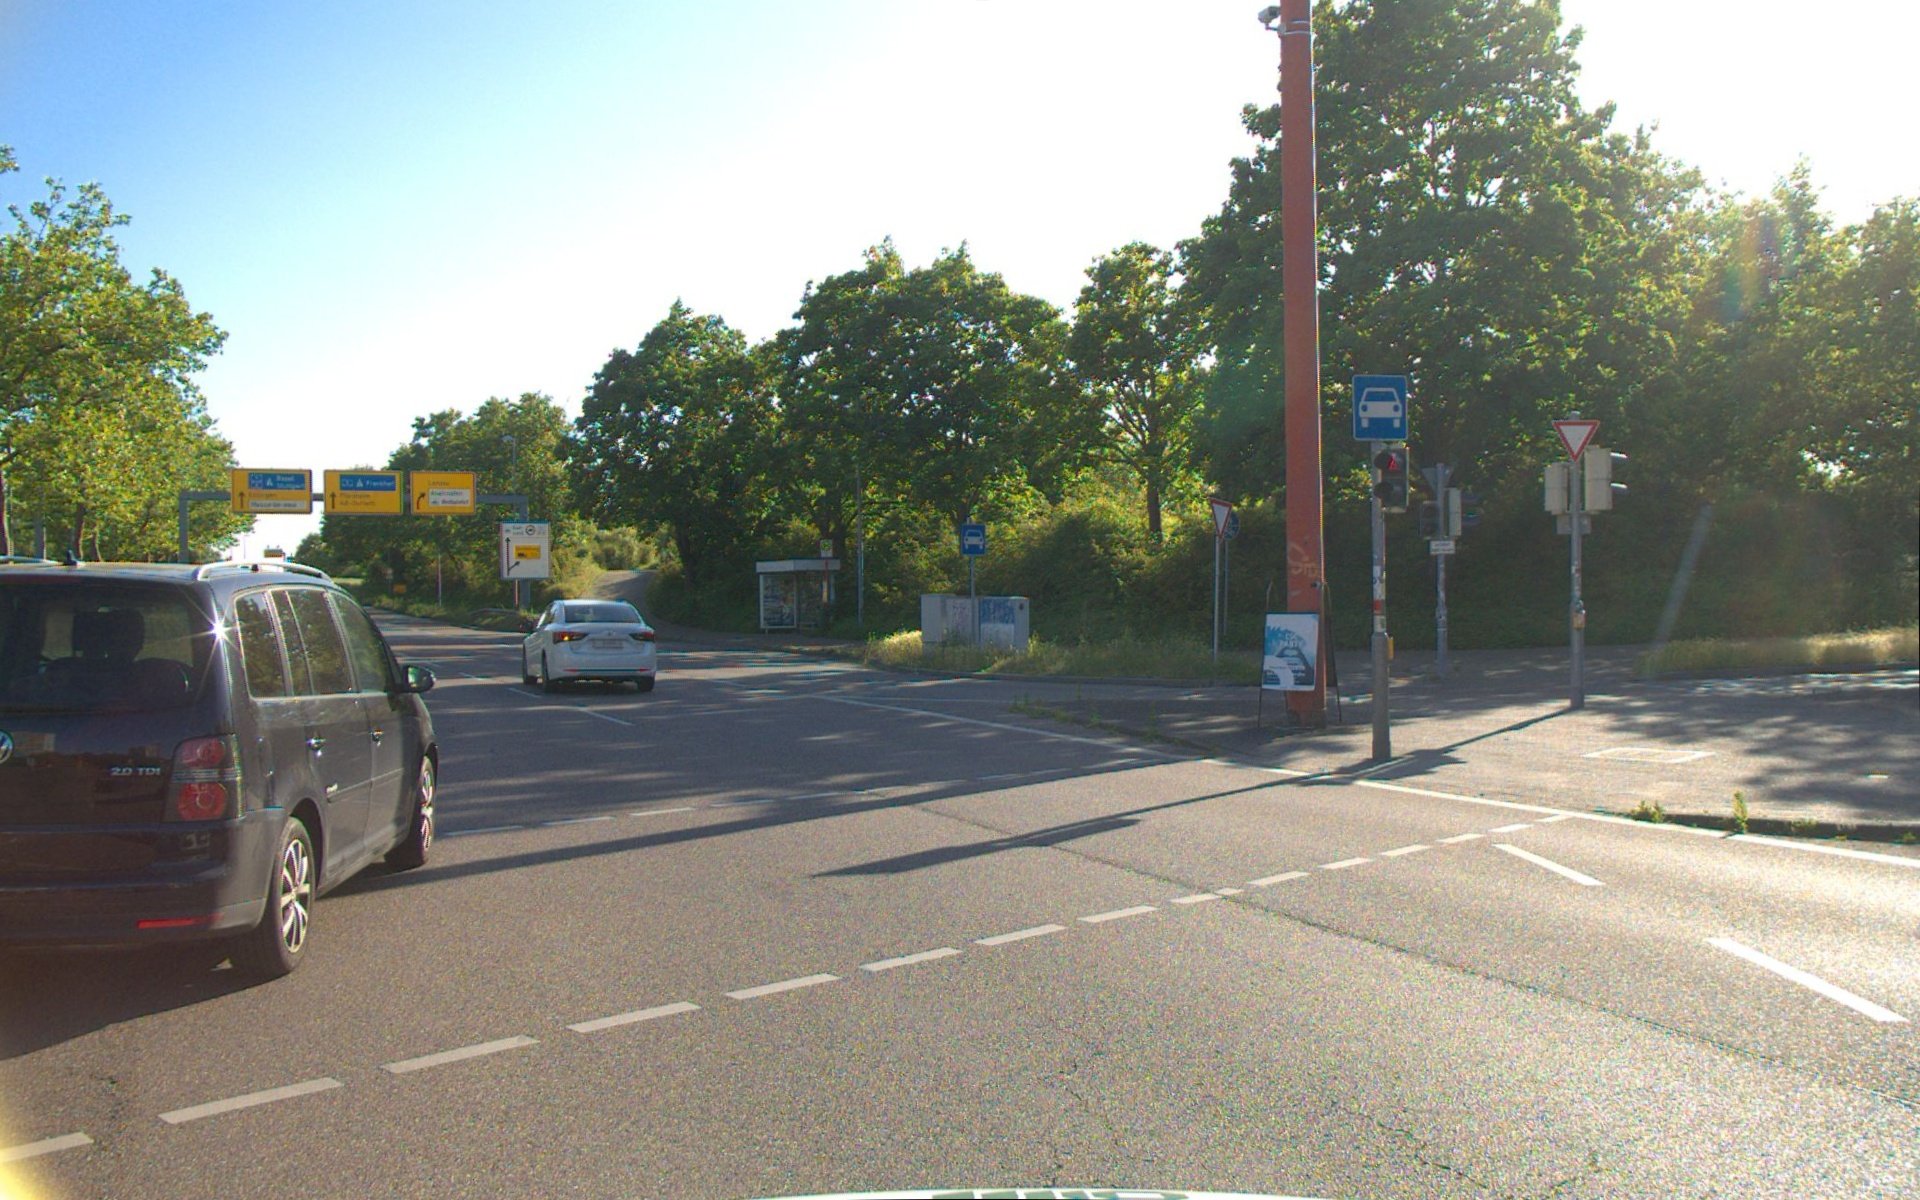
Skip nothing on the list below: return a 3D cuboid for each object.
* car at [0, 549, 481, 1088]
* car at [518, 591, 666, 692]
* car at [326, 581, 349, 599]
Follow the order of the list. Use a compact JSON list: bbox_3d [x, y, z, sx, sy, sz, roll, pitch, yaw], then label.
[{"bbox_3d":[-3.533,0.646,7.555,1.734,1.672,4.917,-1,1,-6],"label":"car"},{"bbox_3d":[-6.244,0.617,27.731,1.743,1.489,4.337,-1,1,-22],"label":"car"},{"bbox_3d":[-54.640,-0.862,145.099,1.744,1.489,4.335,-1,1,-23],"label":"car"}]
